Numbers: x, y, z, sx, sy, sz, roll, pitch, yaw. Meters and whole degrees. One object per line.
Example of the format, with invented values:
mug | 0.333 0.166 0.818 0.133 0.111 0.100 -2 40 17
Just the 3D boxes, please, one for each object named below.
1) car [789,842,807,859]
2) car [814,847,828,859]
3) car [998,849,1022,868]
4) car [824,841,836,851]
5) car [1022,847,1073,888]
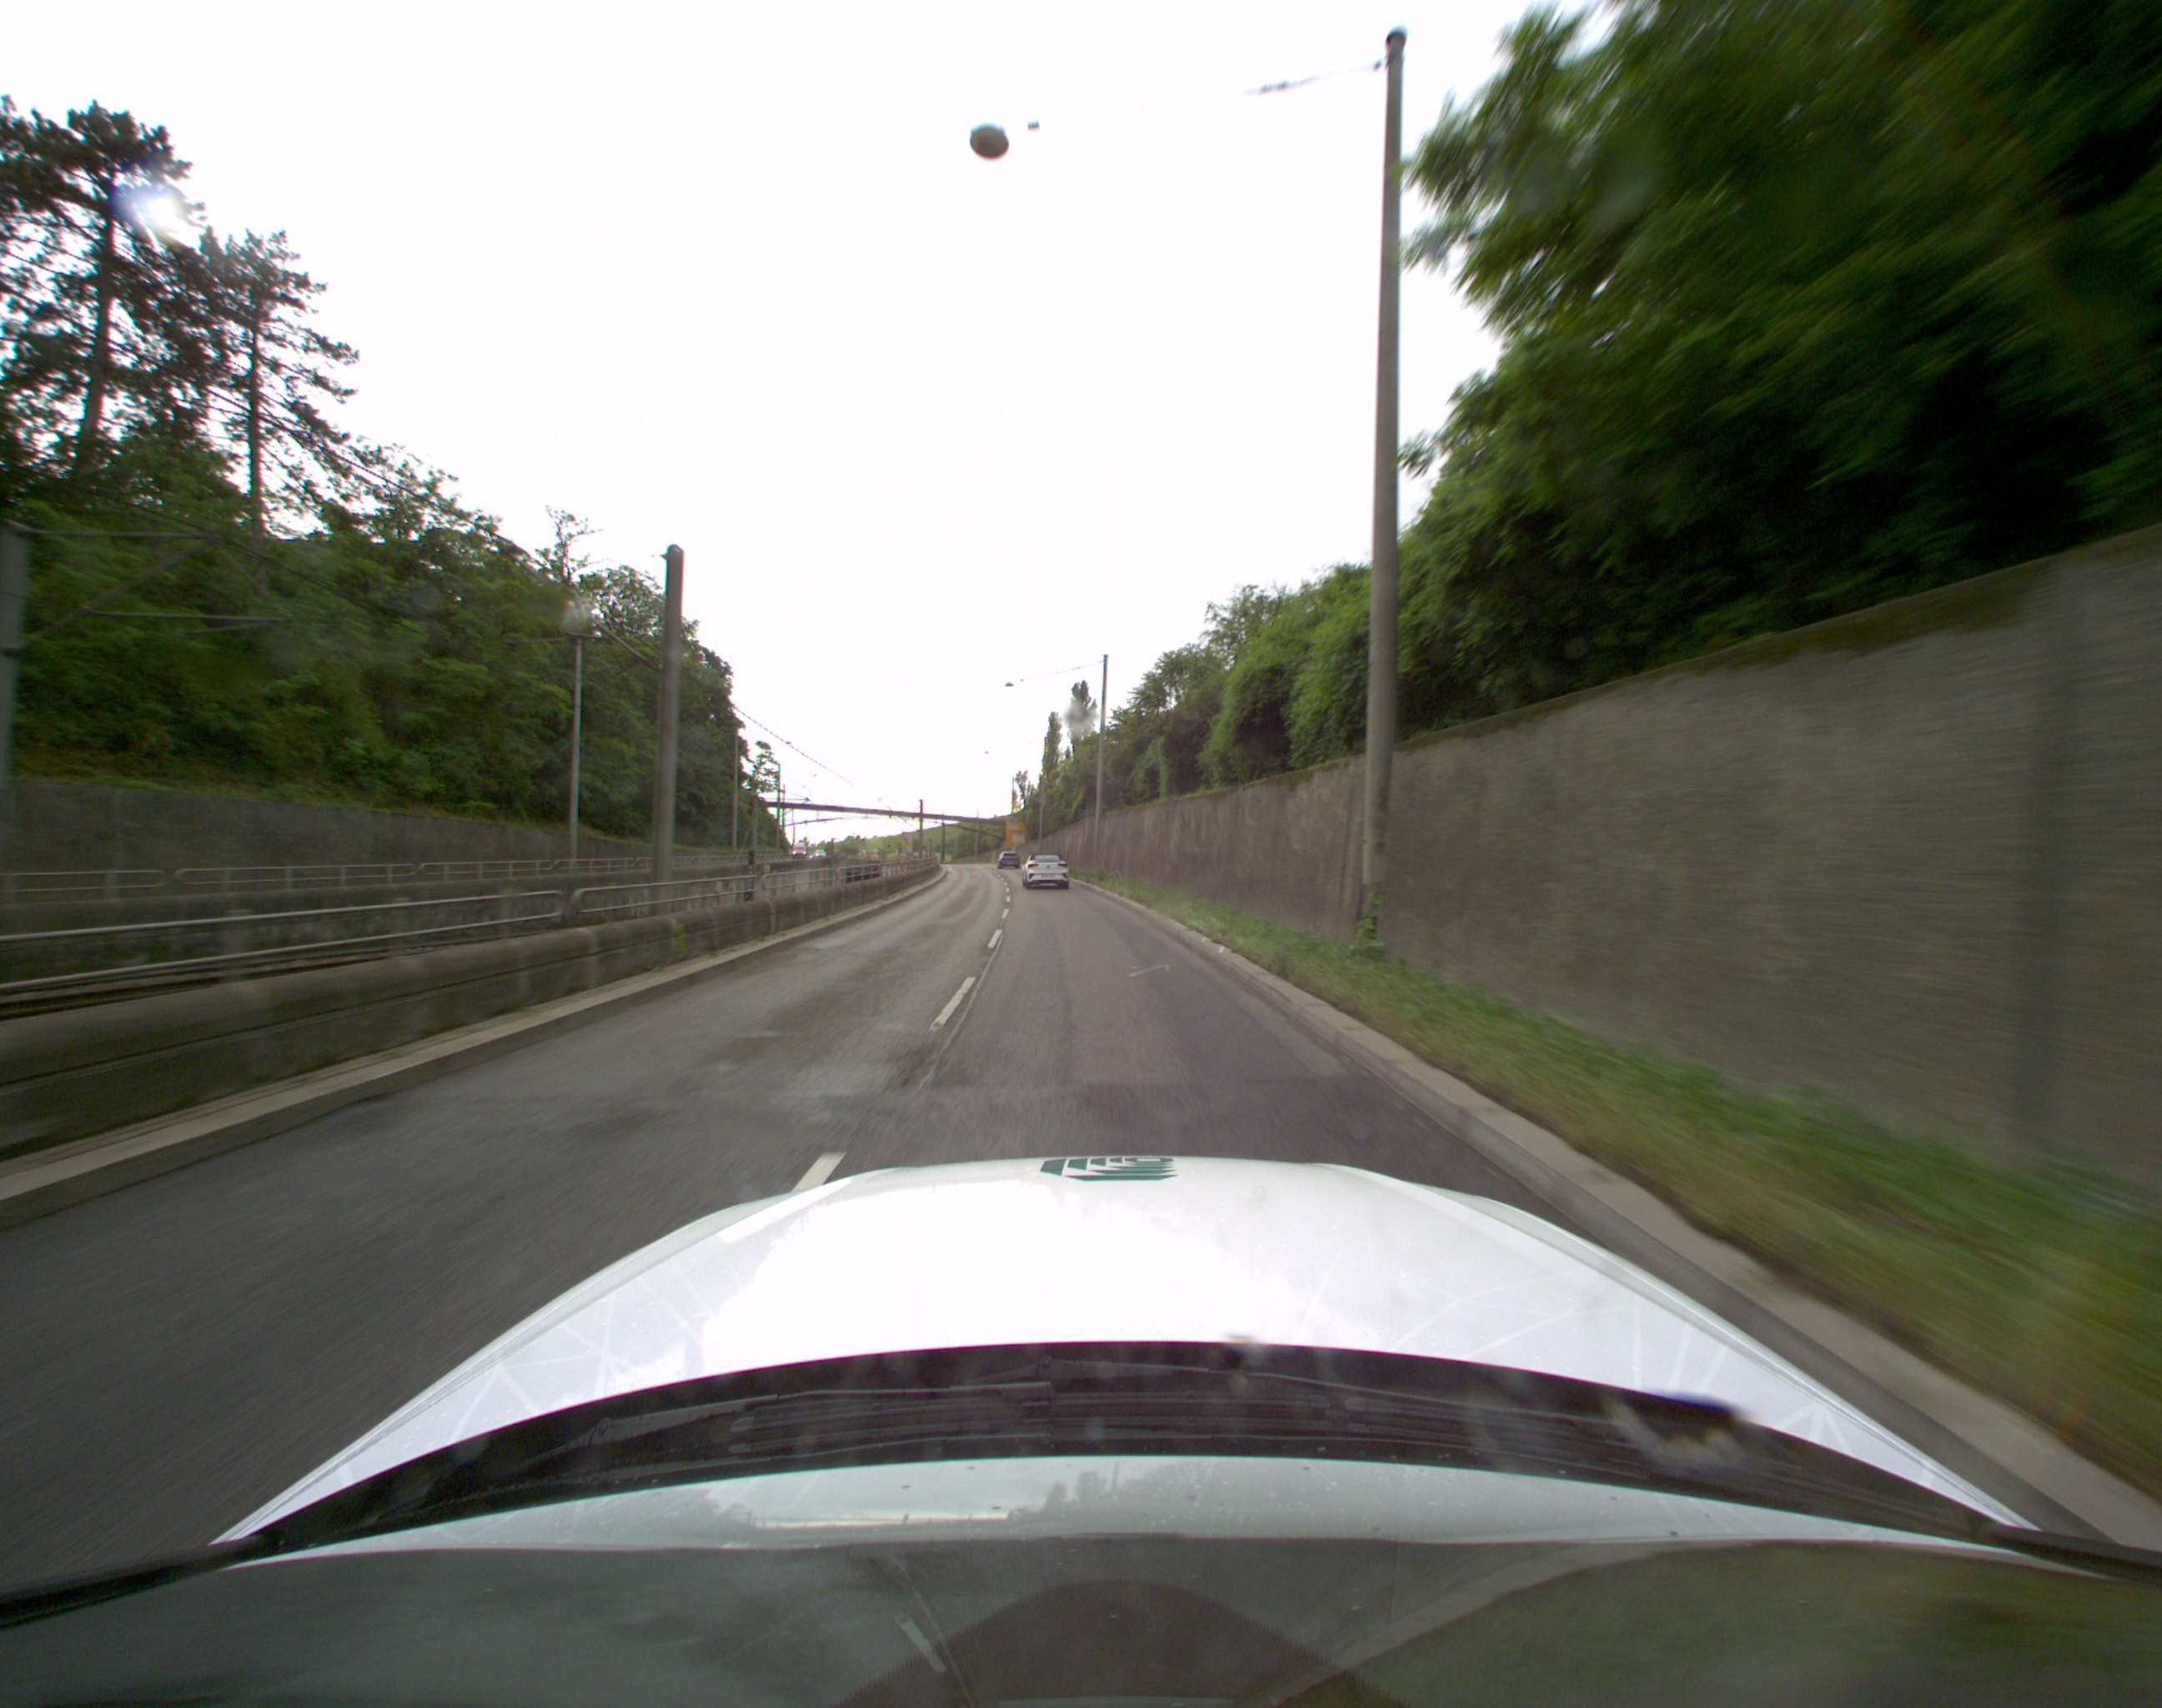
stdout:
car | -45.820 -0.574 132.003 2.186 2.734 6.313 0 0 -15
car | -40.691 -0.136 127.426 1.821 1.704 4.090 -1 0 -15
car | -6.105 0.389 70.259 1.922 1.599 4.057 -1 0 -3
car | -44.236 -1.372 143.443 1.965 1.750 4.118 -1 0 -16
car | -1.472 0.521 34.485 1.992 1.578 4.119 -1 0 -5
